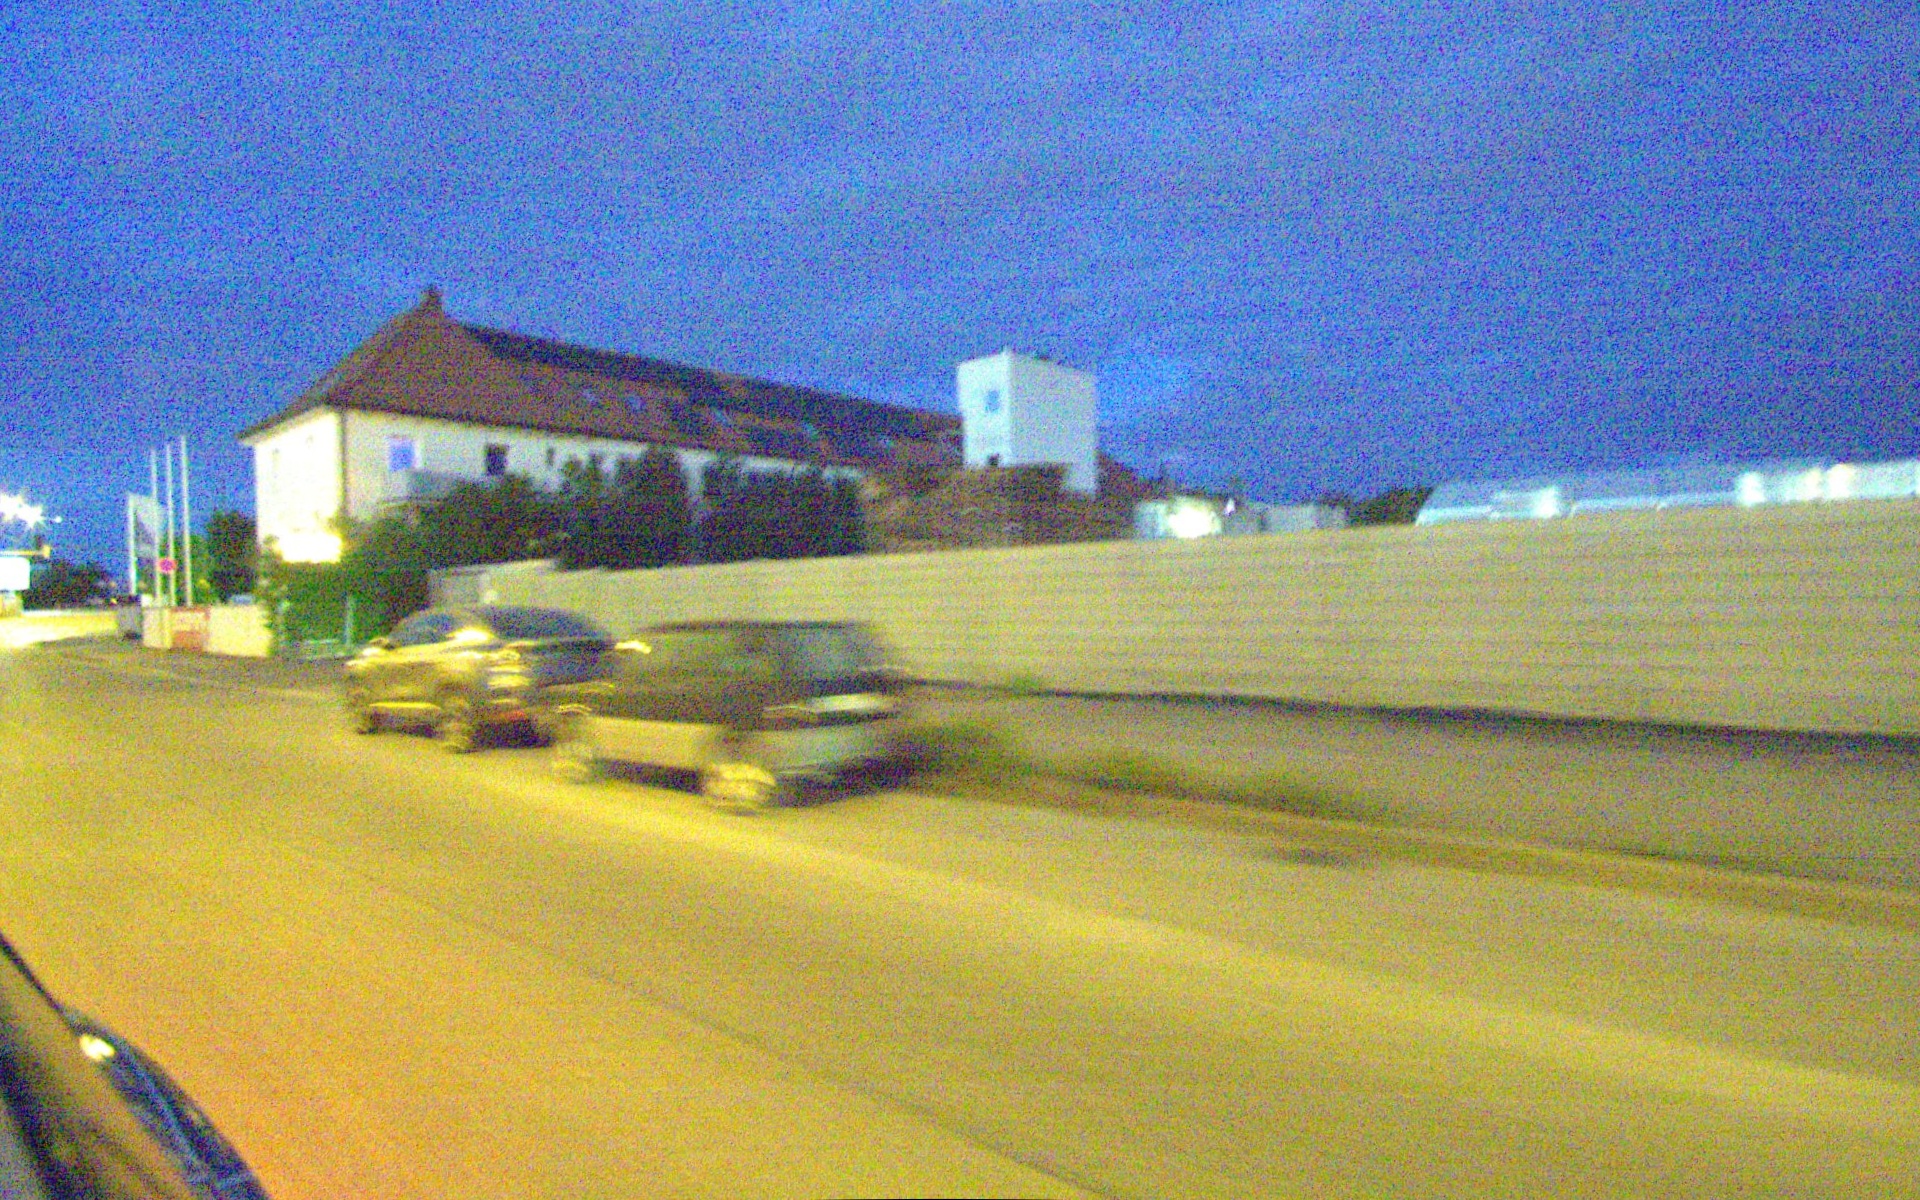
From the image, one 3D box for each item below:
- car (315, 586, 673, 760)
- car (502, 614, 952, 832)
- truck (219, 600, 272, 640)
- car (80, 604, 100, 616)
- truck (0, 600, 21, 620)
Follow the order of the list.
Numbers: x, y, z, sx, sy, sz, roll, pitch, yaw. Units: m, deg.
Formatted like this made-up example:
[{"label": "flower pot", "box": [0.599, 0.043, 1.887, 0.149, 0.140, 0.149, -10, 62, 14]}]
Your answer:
[{"label": "car", "box": [-5.658, 0.708, 12.005, 4.769, 1.648, 1.974, -1, 1, 40]}, {"label": "car", "box": [-2.103, 0.844, 8.475, 3.997, 1.364, 1.585, -1, 0, 40]}, {"label": "truck", "box": [-37.249, 1.006, 52.688, 1.968, 1.914, 5.328, -2, 1, -38]}, {"label": "car", "box": [-122.942, 1.397, 142.968, 1.910, 1.563, 4.008, -2, 1, -38]}, {"label": "truck", "box": [-112.394, 1.169, 118.538, 2.345, 2.301, 7.764, -1, 1, -34]}]
